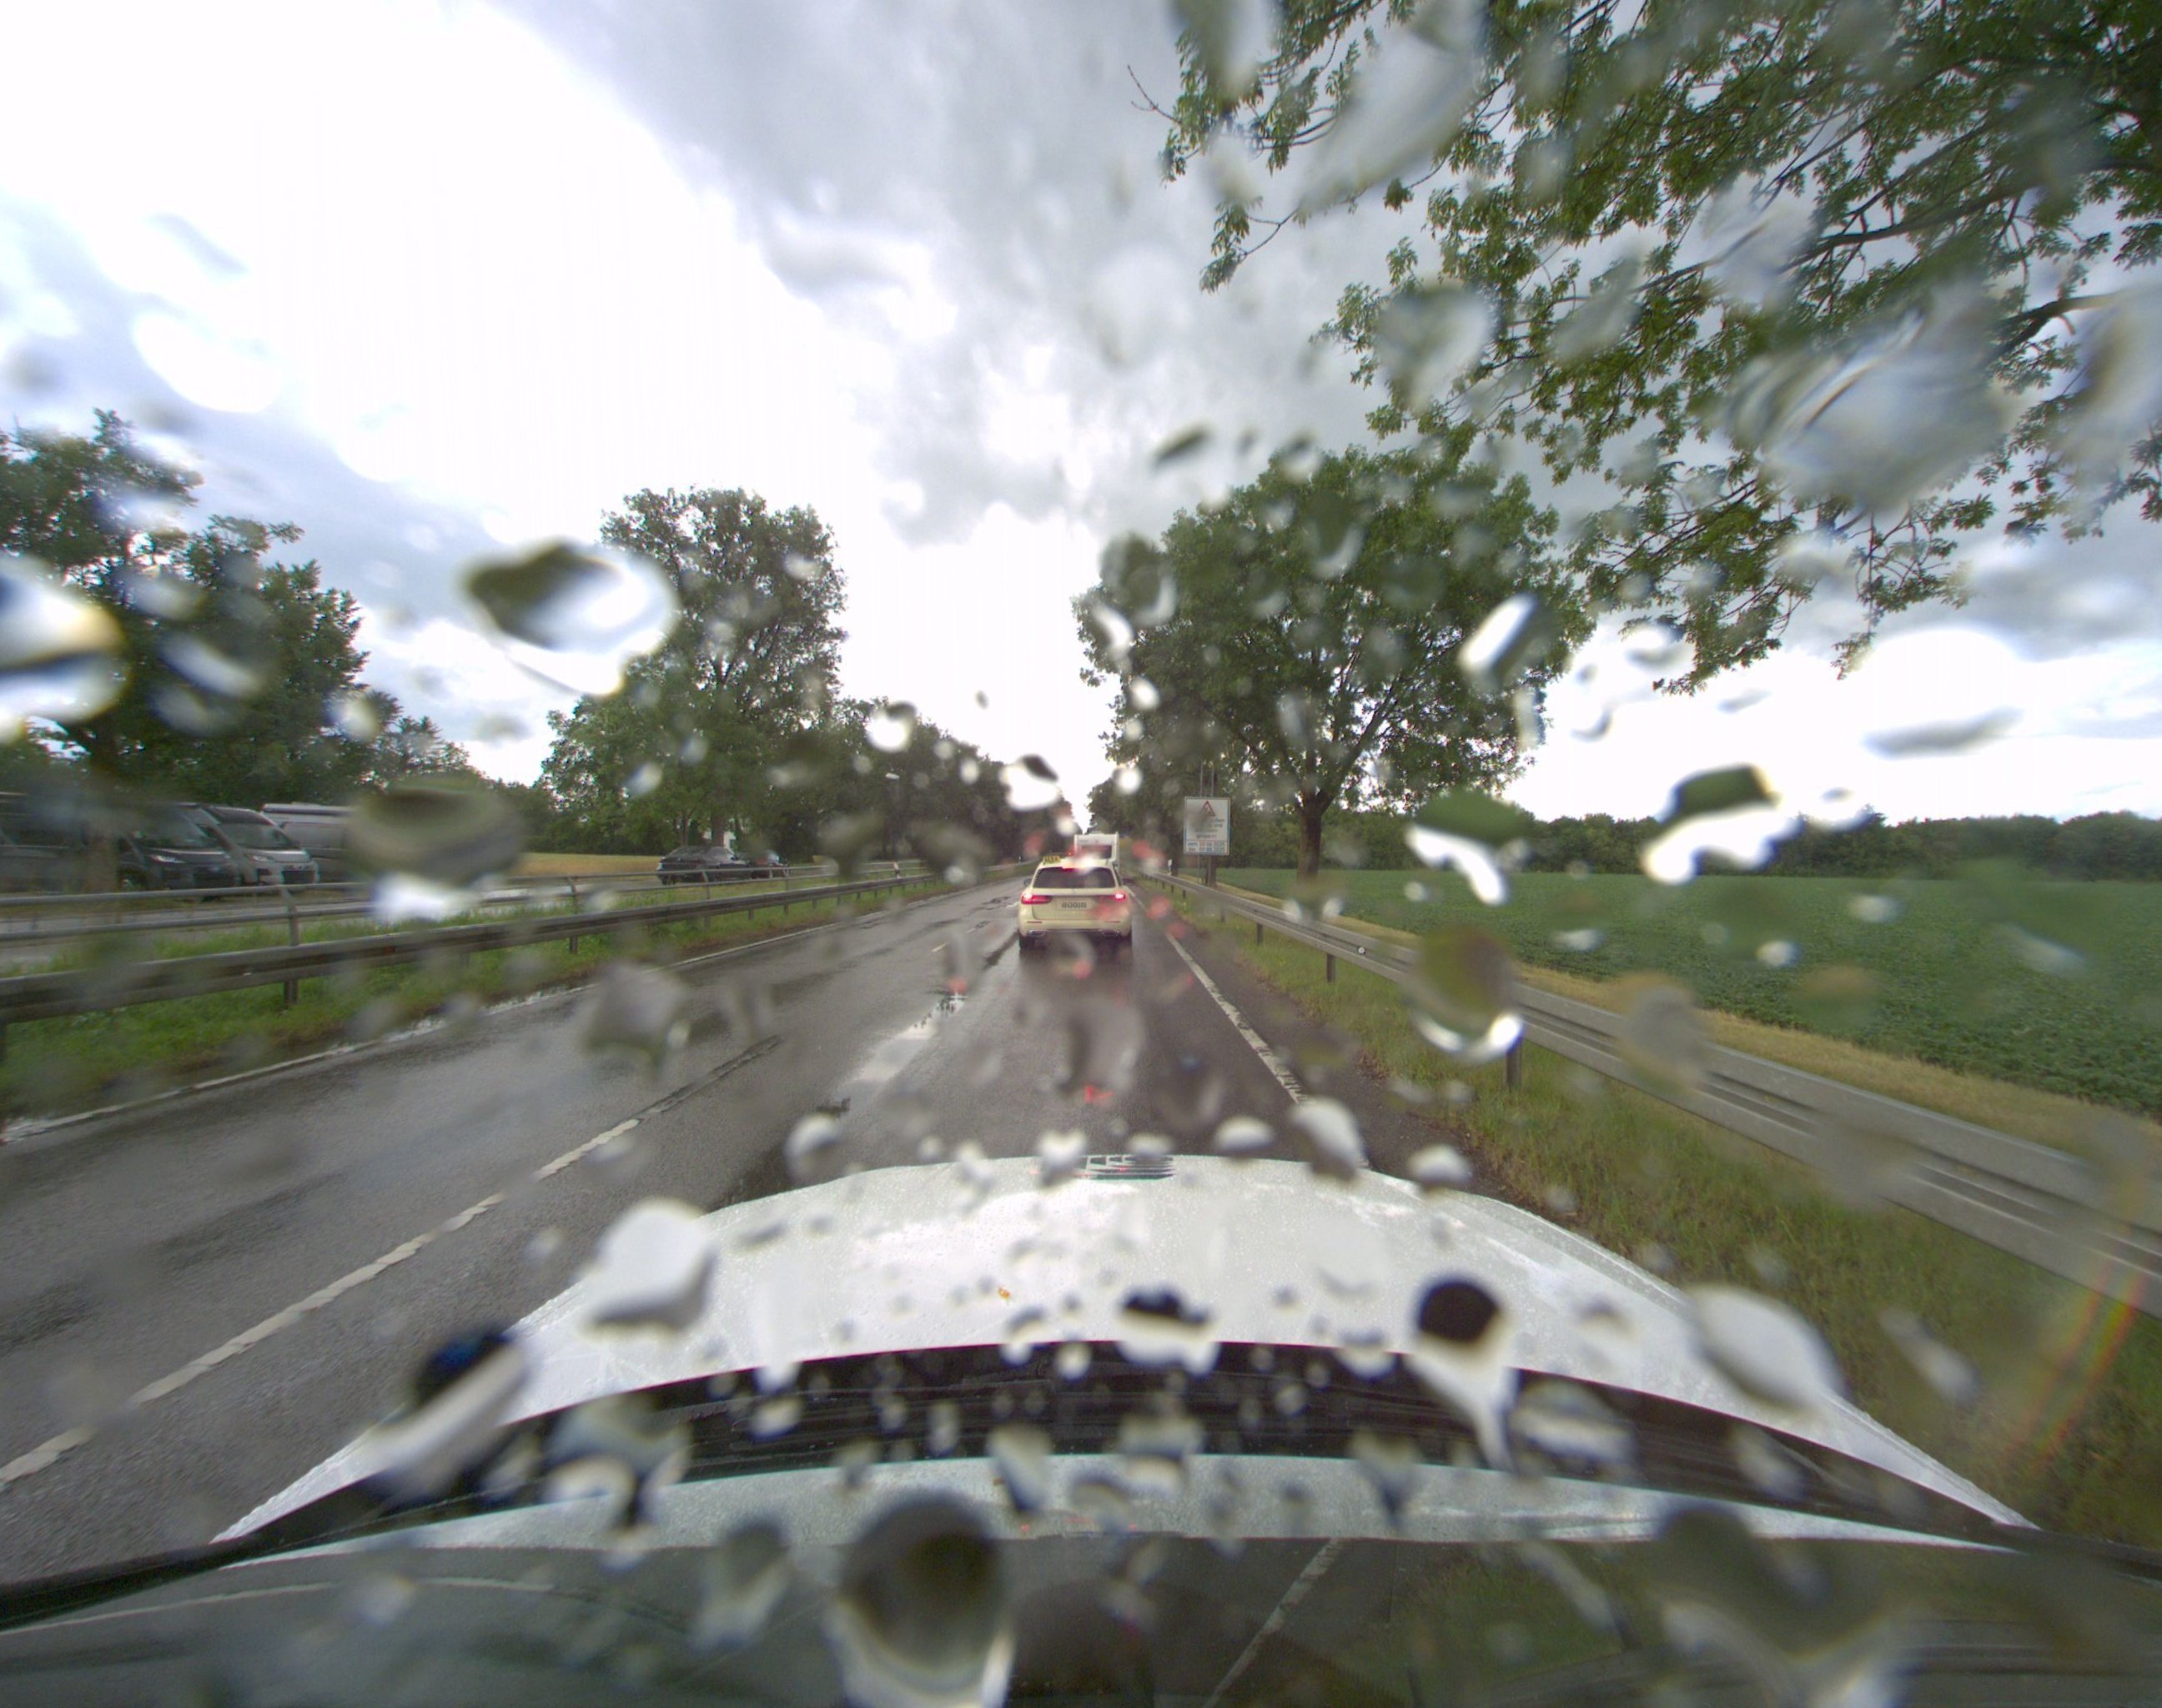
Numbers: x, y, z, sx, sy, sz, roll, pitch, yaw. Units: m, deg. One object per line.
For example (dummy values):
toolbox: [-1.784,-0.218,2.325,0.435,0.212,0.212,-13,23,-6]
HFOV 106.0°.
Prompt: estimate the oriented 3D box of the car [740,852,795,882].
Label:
car: [-14.766,0.584,38.533,1.280,1.331,3.894,0,0,-3]

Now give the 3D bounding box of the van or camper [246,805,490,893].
van or camper: [-23.219,-0.155,26.749,5.864,2.677,2.078,1,0,-5]

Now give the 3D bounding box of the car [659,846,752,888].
car: [-14.660,0.471,32.124,1.512,1.491,5.116,1,0,-3]

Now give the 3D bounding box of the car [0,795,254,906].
car: [-23.862,-0.081,19.783,5.172,2.501,1.997,1,0,-4]

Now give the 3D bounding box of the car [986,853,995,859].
car: [-22.048,0.505,198.435,1.780,1.416,3.999,1,0,0]

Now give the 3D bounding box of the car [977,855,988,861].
car: [-22.349,0.911,185.108,1.778,1.416,4.002,1,0,2]

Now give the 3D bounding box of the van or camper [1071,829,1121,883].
van or camper: [0.856,0.098,43.286,2.480,2.685,5.703,0,0,2]

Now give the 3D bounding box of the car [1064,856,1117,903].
car: [0.381,0.803,27.534,1.657,1.430,4.002,-1,0,2]

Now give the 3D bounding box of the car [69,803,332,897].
car: [-24.852,-0.102,23.149,5.078,2.459,1.999,1,0,-2]

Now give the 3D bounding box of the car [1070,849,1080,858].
car: [-1.023,-0.111,145.237,1.758,1.619,4.000,-1,0,1]

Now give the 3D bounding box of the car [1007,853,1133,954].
car: [-0.084,0.742,14.178,1.857,1.476,4.002,-1,0,2]

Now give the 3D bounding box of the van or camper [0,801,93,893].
van or camper: [-33.289,-0.248,23.791,5.797,2.590,1.996,1,0,-7]
